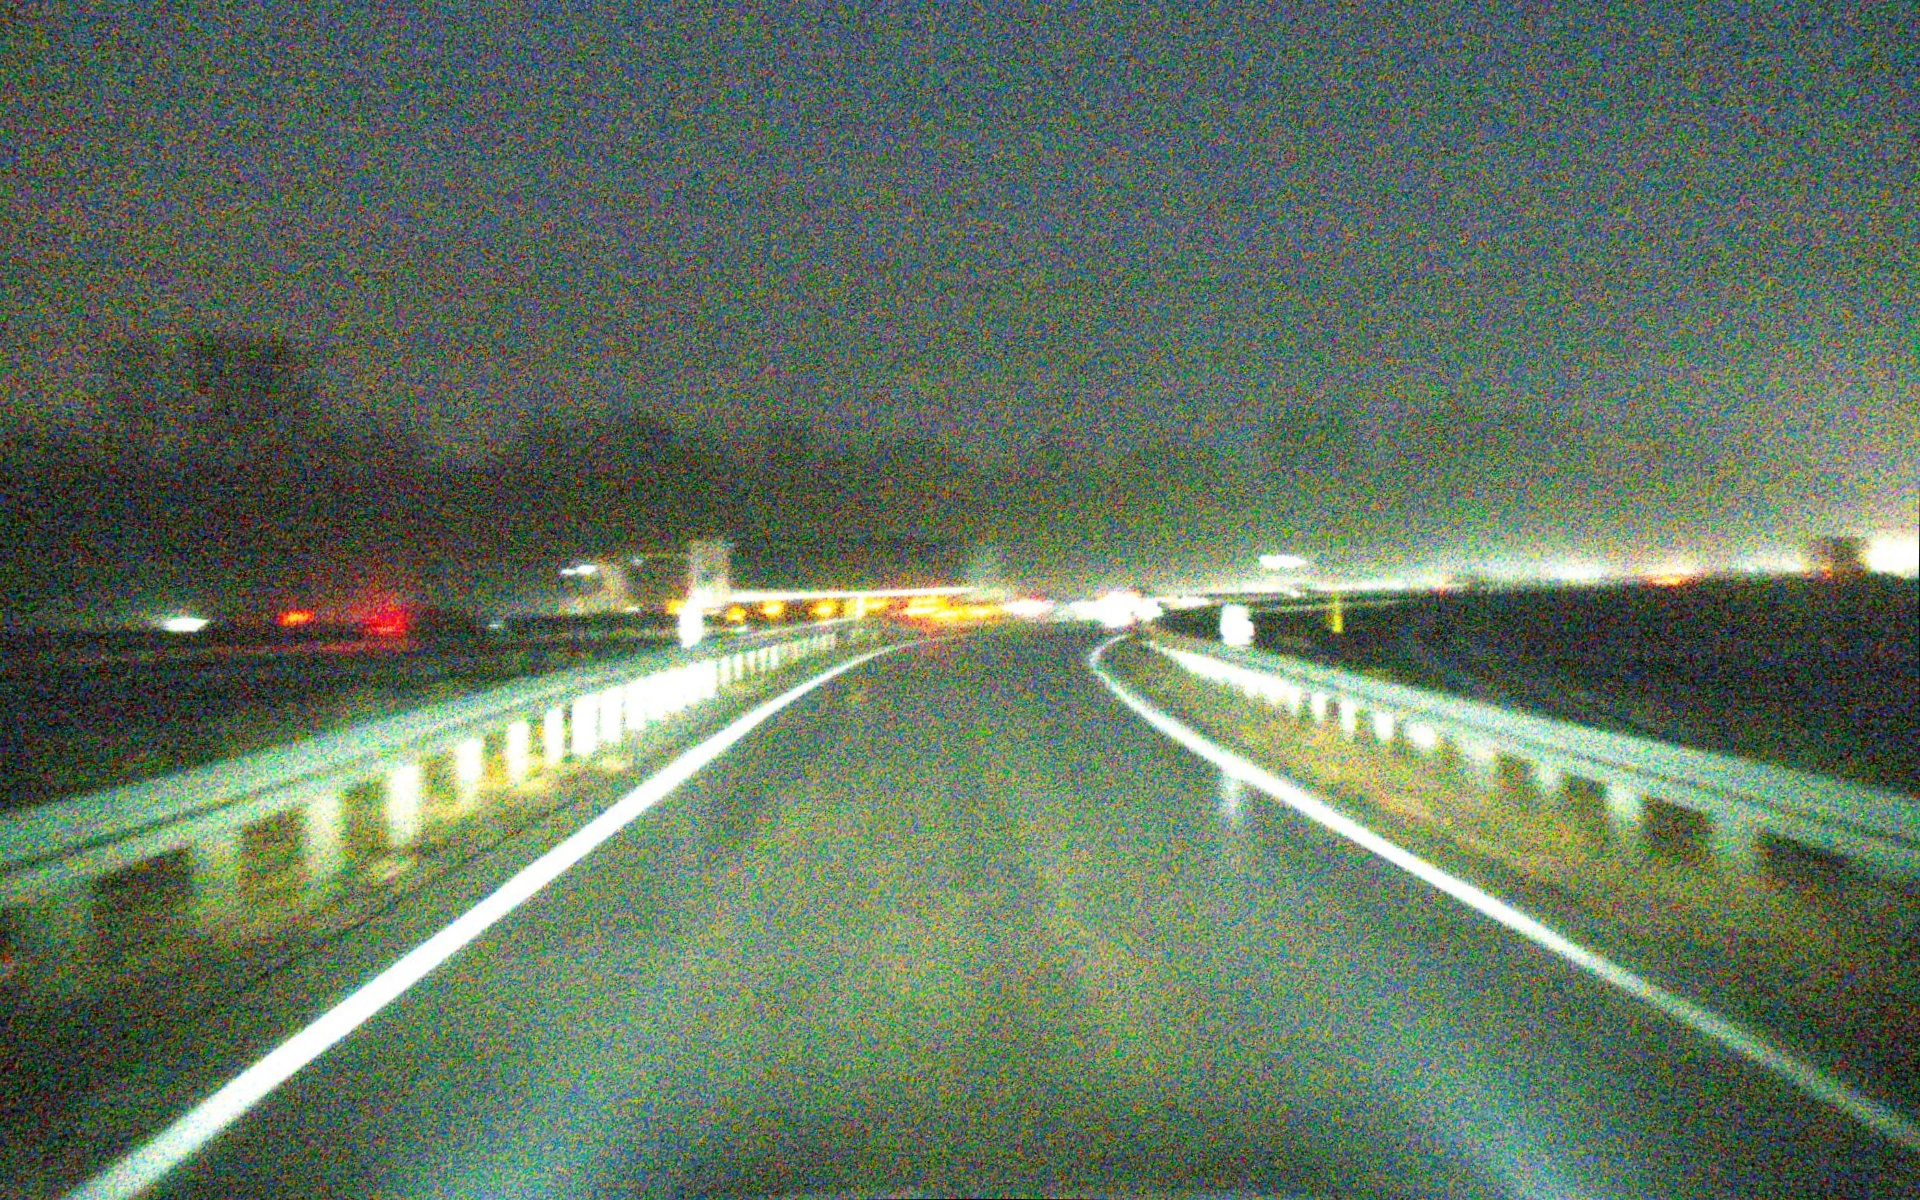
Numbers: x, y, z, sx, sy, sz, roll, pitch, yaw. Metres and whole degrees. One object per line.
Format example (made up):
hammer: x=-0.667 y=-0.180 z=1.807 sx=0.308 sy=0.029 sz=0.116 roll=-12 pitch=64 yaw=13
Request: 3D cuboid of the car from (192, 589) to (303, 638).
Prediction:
car: x=-30.372 y=0.537 z=70.569 sx=3.970 sy=1.937 sz=1.889 roll=-2 pitch=2 yaw=-44

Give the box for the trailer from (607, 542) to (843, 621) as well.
trailer: x=-12.755 y=-1.137 z=91.629 sx=13.899 sy=4.099 sz=2.736 roll=-2 pitch=2 yaw=-43

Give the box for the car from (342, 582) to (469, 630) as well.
car: x=-20.130 y=0.178 z=60.124 sx=3.964 sy=1.646 sz=1.971 roll=-1 pitch=2 yaw=-41

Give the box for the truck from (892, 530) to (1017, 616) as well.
truck: x=-0.212 y=-1.240 z=75.600 sx=5.412 sy=3.775 sz=2.557 roll=-1 pitch=2 yaw=-42

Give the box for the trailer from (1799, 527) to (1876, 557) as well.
trailer: x=82.651 y=-5.455 z=155.588 sx=12.761 sy=2.746 sz=2.652 roll=-2 pitch=2 yaw=-44

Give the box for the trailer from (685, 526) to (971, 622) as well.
trailer: x=-5.356 y=-1.138 z=70.876 sx=13.537 sy=3.789 sz=2.560 roll=-1 pitch=2 yaw=-42

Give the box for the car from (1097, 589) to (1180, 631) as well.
car: x=8.614 y=0.452 z=79.704 sx=3.970 sy=1.850 sz=1.967 roll=-2 pitch=2 yaw=-45

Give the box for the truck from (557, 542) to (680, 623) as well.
truck: x=-17.896 y=-0.970 z=86.840 sx=5.701 sy=4.099 sz=2.736 roll=-2 pitch=2 yaw=-43

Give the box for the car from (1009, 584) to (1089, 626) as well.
car: x=4.602 y=0.210 z=85.279 sx=3.968 sy=2.048 sz=1.969 roll=-1 pitch=2 yaw=-43
